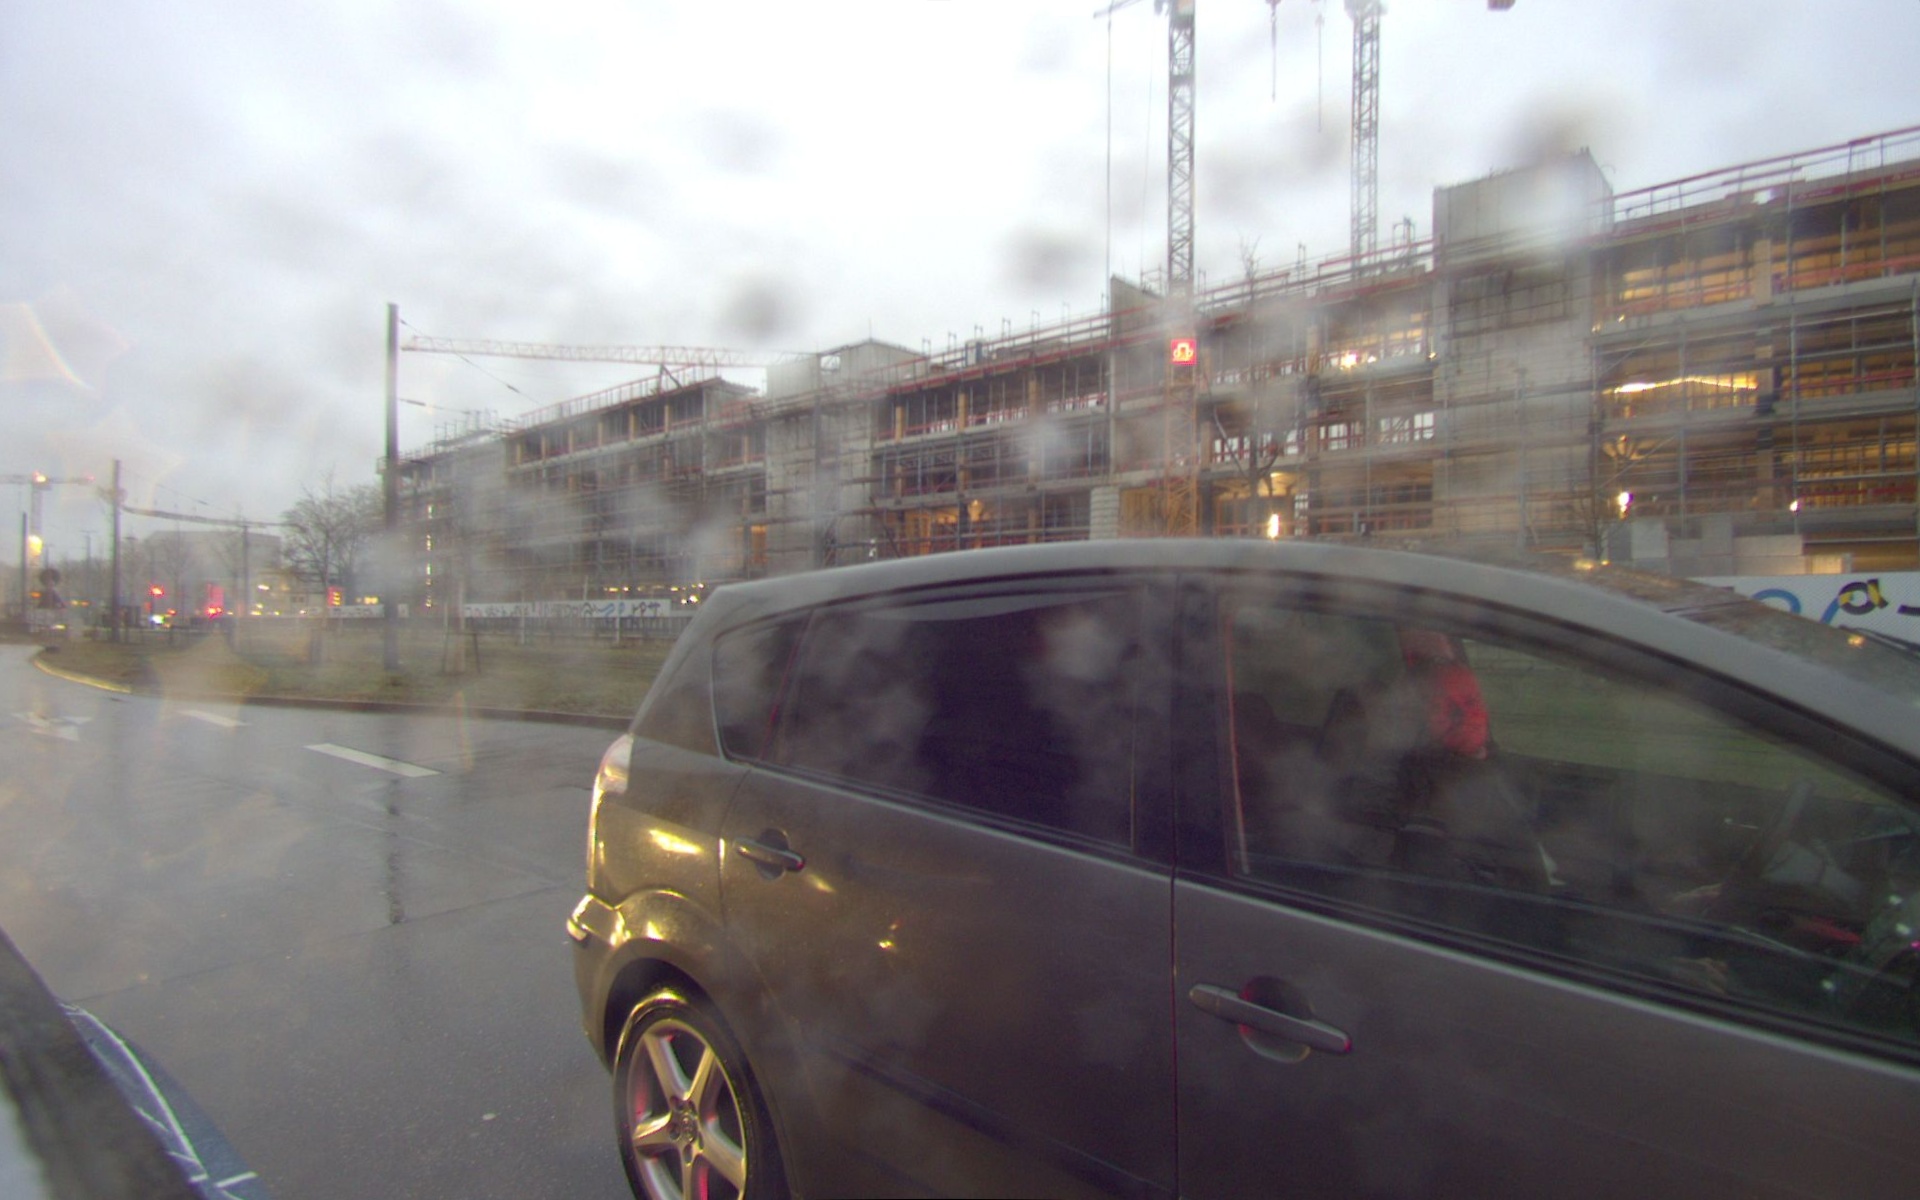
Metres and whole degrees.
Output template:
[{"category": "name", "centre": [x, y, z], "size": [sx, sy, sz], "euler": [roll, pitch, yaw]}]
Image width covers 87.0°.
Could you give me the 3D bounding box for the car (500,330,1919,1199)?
[{"category": "car", "centre": [1.026, 0.605, 1.871], "size": [4.131, 1.659, 1.793], "euler": [-1, -1, 39]}]
